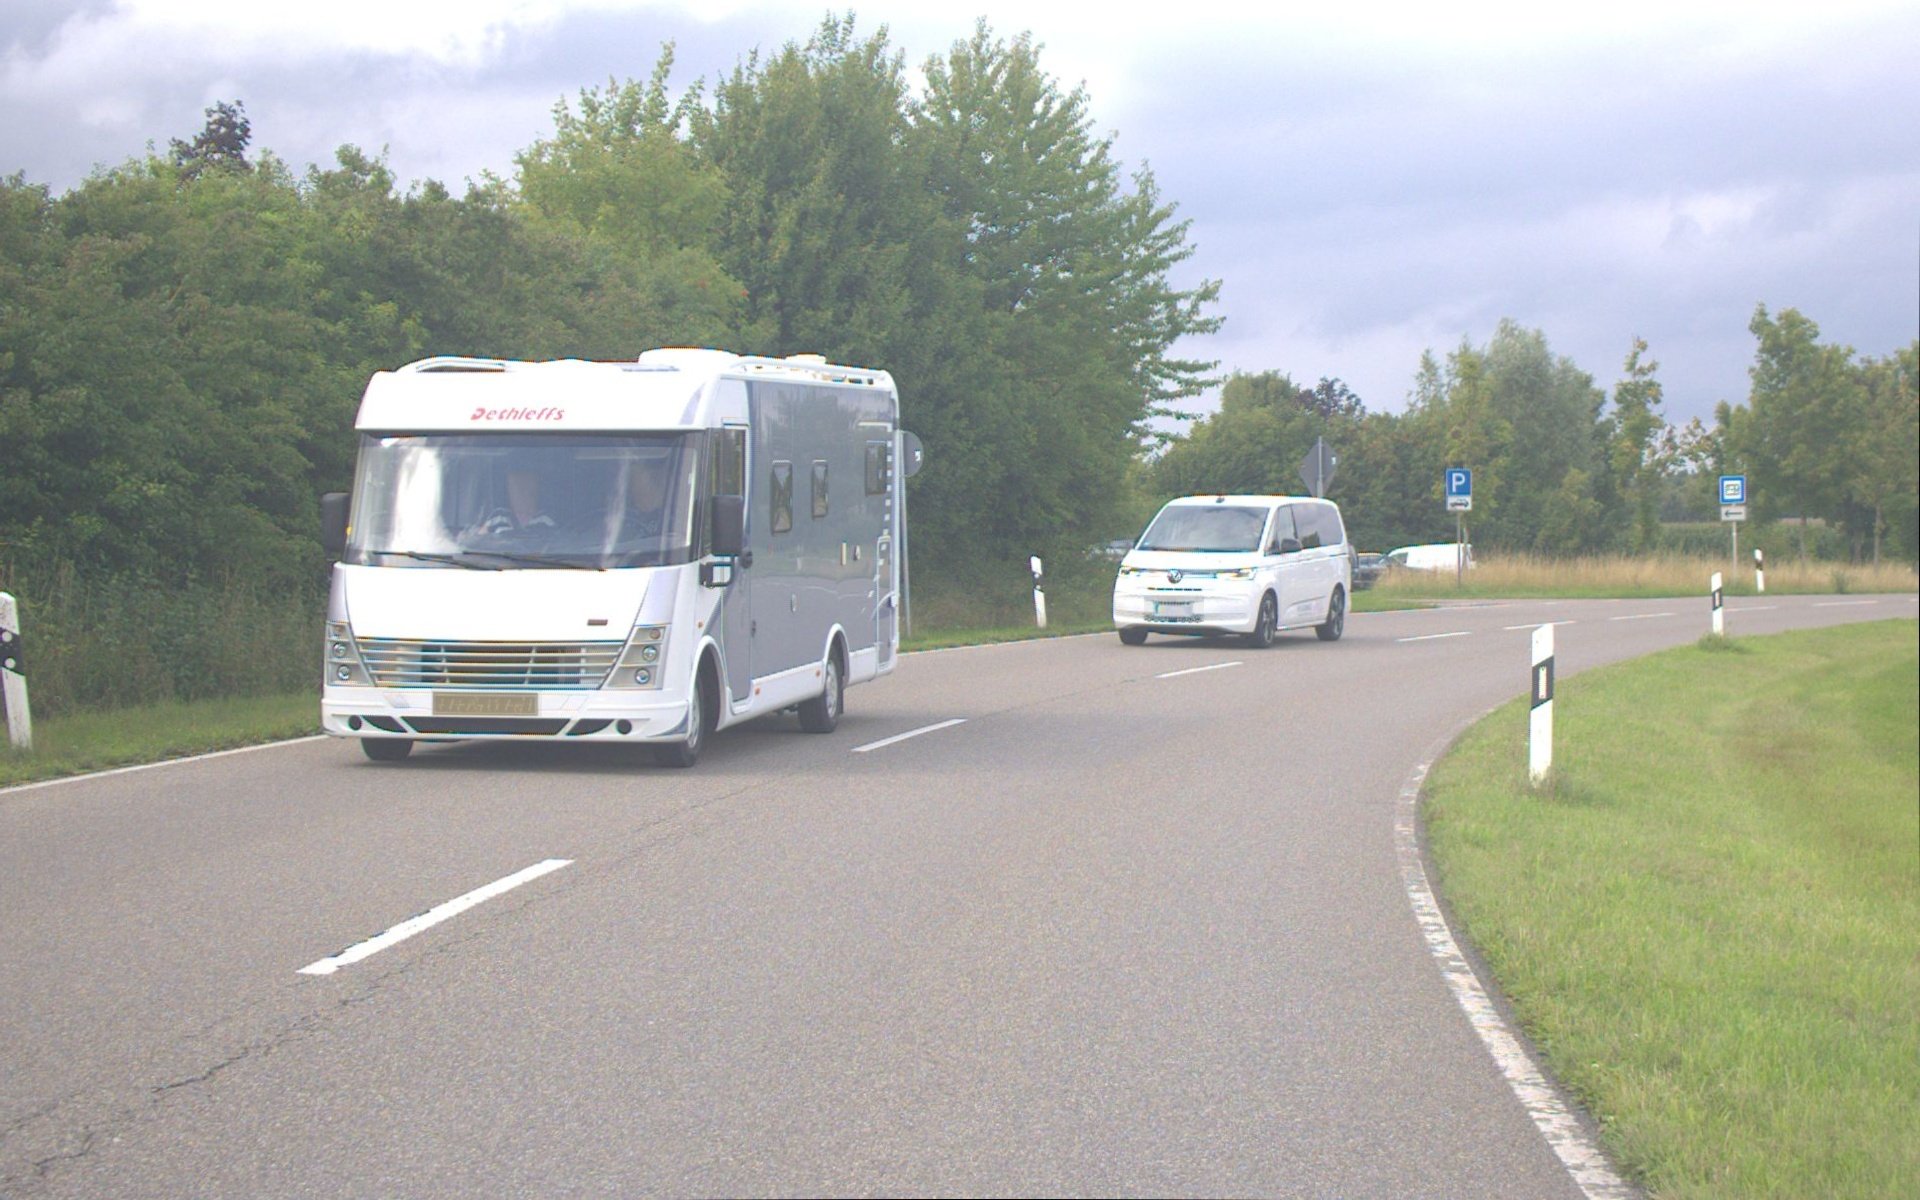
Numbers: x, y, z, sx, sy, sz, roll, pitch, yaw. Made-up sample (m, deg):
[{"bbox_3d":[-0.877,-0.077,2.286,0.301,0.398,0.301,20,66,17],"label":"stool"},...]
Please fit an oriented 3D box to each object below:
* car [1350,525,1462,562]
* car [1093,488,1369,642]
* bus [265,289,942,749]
[{"bbox_3d":[16.706,-2.112,128.646,3.990,1.375,1.475,0,1,16],"label":"car"},{"bbox_3d":[3.581,-0.469,44.358,2.115,1.862,5.181,0,1,22],"label":"car"},{"bbox_3d":[-2.164,-0.555,24.597,2.476,2.702,8.427,0,1,11],"label":"bus"}]
